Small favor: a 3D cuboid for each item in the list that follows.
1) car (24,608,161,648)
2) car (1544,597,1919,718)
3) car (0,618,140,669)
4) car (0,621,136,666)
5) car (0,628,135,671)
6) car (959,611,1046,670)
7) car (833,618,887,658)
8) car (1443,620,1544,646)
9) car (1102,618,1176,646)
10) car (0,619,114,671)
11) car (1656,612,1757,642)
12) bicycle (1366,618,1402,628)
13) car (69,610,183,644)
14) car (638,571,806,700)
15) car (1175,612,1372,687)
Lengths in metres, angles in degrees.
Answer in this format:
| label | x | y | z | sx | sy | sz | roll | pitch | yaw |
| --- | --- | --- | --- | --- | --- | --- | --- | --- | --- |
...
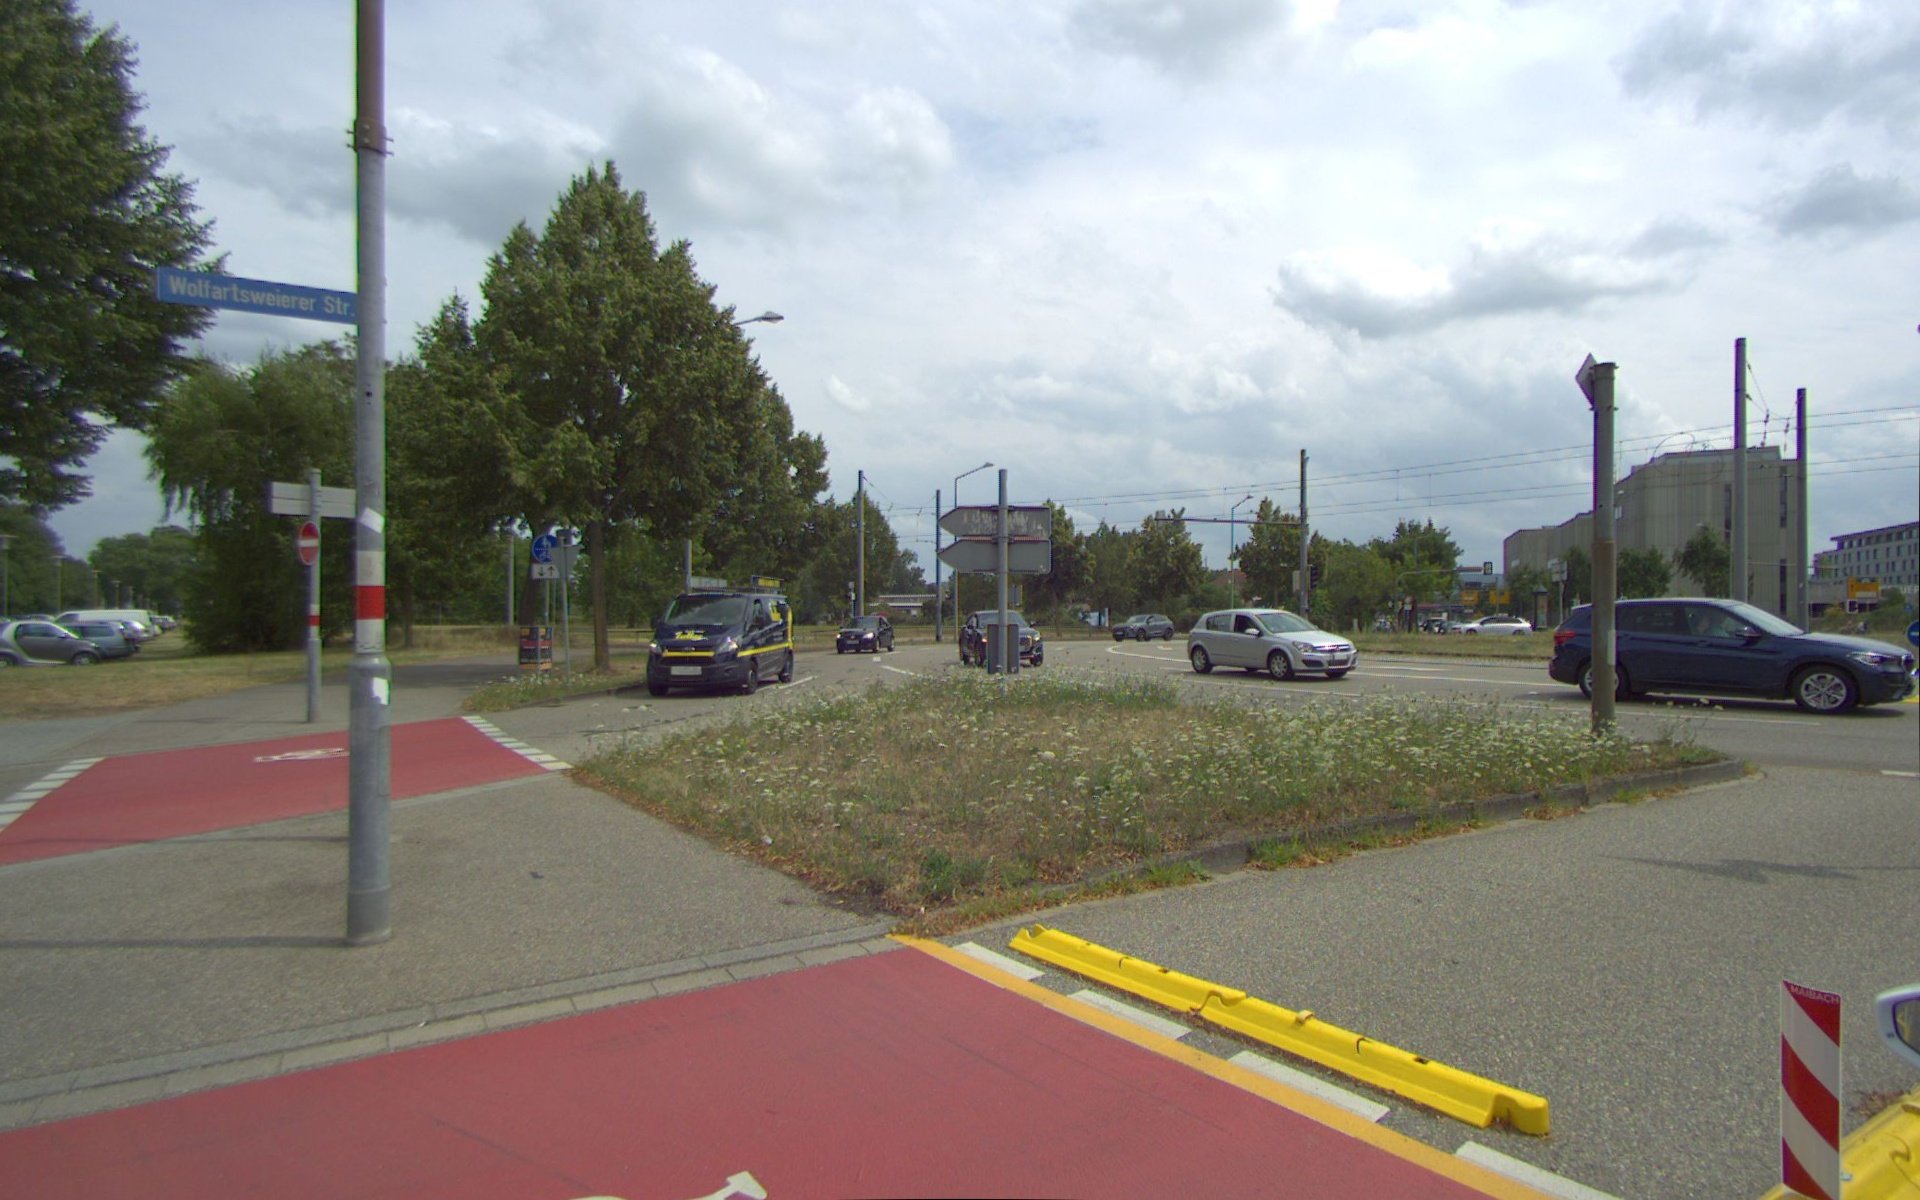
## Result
| label | x | y | z | sx | sy | sz | roll | pitch | yaw |
| --- | --- | --- | --- | --- | --- | --- | --- | --- | --- |
| car | -46.922 | 1.508 | 54.514 | 5.524 | 2.083 | 2.176 | 1 | -1 | -40 |
| car | 11.473 | 0.773 | 15.141 | 1.718 | 1.554 | 4.322 | 1 | -1 | -39 |
| car | -29.923 | 1.411 | 32.915 | 4.668 | 1.491 | 1.811 | -2 | 1 | -41 |
| car | -31.820 | 1.483 | 34.901 | 4.845 | 1.491 | 1.813 | 1 | -1 | -38 |
| car | -33.361 | 1.774 | 36.710 | 4.845 | 1.491 | 1.813 | 1 | -1 | -38 |
| car | 1.114 | 1.076 | 28.195 | 1.709 | 1.539 | 4.141 | 0 | -1 | -8 |
| car | -3.876 | 1.470 | 39.375 | 1.599 | 1.433 | 3.723 | -1 | -2 | 2 |
| car | 32.279 | 1.979 | 60.876 | 5.082 | 1.502 | 2.000 | 0 | -1 | -2 |
| car | 10.708 | 1.883 | 59.858 | 4.439 | 1.572 | 2.040 | 1 | -1 | -41 |
| car | -28.177 | 1.373 | 31.098 | 2.897 | 1.442 | 1.464 | -2 | 0 | -45 |
| car | 43.232 | 1.543 | 58.290 | 4.267 | 1.688 | 1.939 | 0 | -1 | 15 |
| bicycle | 34.666 | 1.888 | 82.144 | 2.605 | 0.866 | 0.865 | 0 | -1 | 5 |
| car | -53.548 | 1.738 | 64.679 | 5.520 | 2.083 | 2.177 | 1 | -1 | -38 |
| car | -4.664 | 0.667 | 20.569 | 1.960 | 2.303 | 5.162 | 0 | -1 | 3 |
| car | 6.712 | 0.999 | 21.975 | 1.805 | 1.482 | 4.235 | 0 | -1 | -24 |
